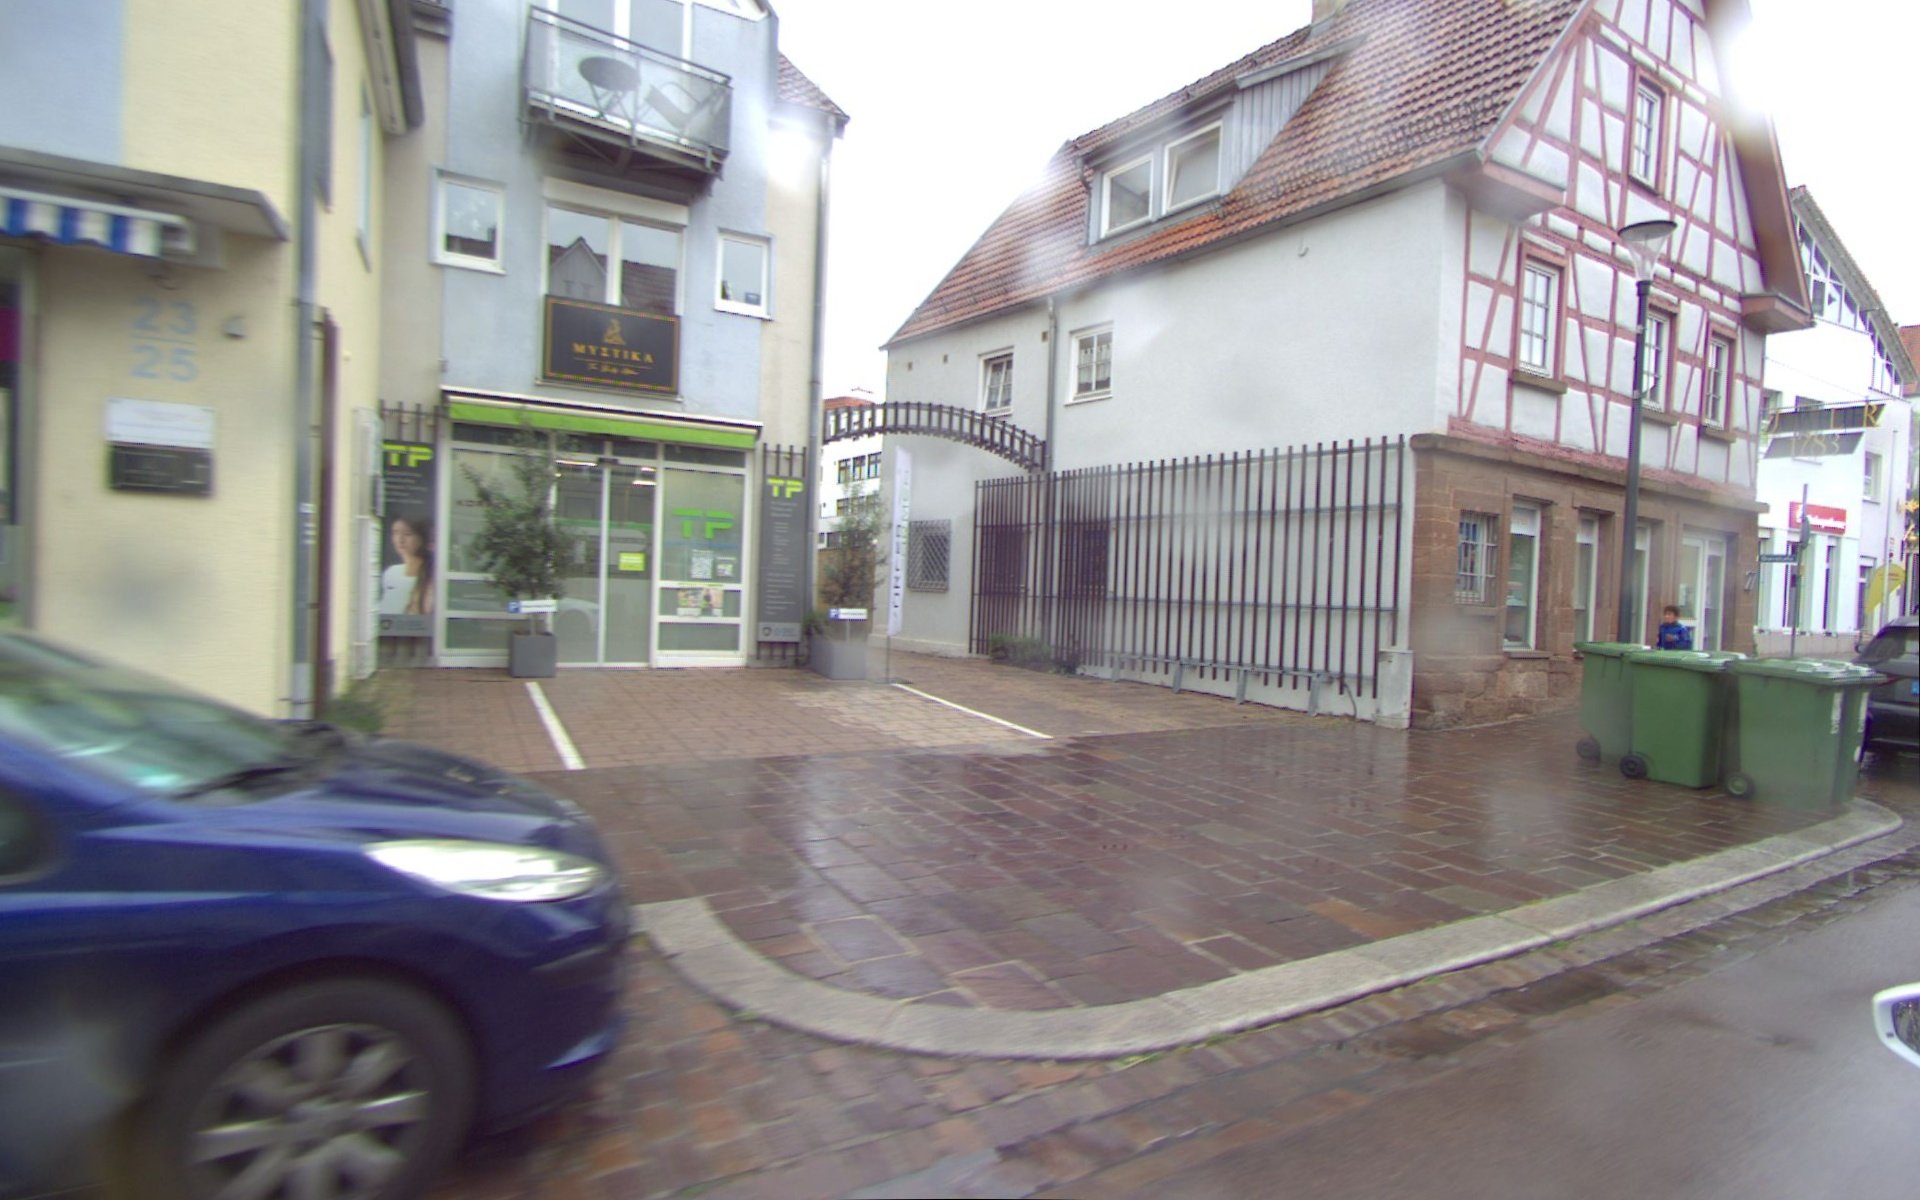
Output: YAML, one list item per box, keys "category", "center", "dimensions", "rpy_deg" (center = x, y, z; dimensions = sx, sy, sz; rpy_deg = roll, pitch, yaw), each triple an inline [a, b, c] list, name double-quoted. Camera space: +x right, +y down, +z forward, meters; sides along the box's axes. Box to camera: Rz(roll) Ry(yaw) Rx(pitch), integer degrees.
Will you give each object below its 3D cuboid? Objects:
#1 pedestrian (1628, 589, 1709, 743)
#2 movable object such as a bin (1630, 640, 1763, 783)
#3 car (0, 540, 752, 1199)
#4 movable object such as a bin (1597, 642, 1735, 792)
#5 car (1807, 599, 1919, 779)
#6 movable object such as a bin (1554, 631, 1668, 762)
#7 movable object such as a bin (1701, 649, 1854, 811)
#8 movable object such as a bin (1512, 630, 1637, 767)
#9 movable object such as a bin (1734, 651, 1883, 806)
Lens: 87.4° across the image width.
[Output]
- category: "pedestrian"
  center: [8.301, 0.758, 11.771]
  dimensions: [0.572, 1.734, 0.515]
  rpy_deg: [2, 1, -33]
- category: "movable object such as a bin"
  center: [6.383, 0.943, 8.717]
  dimensions: [0.590, 1.125, 0.721]
  rpy_deg: [2, 1, -33]
- category: "car"
  center: [-2.645, 0.601, 2.268]
  dimensions: [3.902, 1.494, 1.746]
  rpy_deg: [0, 3, -33]
- category: "movable object such as a bin"
  center: [5.870, 0.946, 8.368]
  dimensions: [0.590, 1.125, 0.721]
  rpy_deg: [2, 1, -33]
- category: "car"
  center: [9.903, 0.801, 9.800]
  dimensions: [3.966, 1.515, 1.773]
  rpy_deg: [0, 3, -40]
- category: "movable object such as a bin"
  center: [6.080, 0.877, 9.389]
  dimensions: [0.609, 1.125, 0.655]
  rpy_deg: [2, 1, -34]
- category: "movable object such as a bin"
  center: [6.317, 0.973, 7.774]
  dimensions: [0.590, 1.125, 0.721]
  rpy_deg: [2, 1, -33]
- category: "movable object such as a bin"
  center: [5.520, 0.863, 9.040]
  dimensions: [0.590, 1.125, 0.721]
  rpy_deg: [2, 1, -33]
- category: "movable object such as a bin"
  center: [6.849, 1.003, 8.122]
  dimensions: [0.638, 1.125, 0.721]
  rpy_deg: [1, 2, -33]
